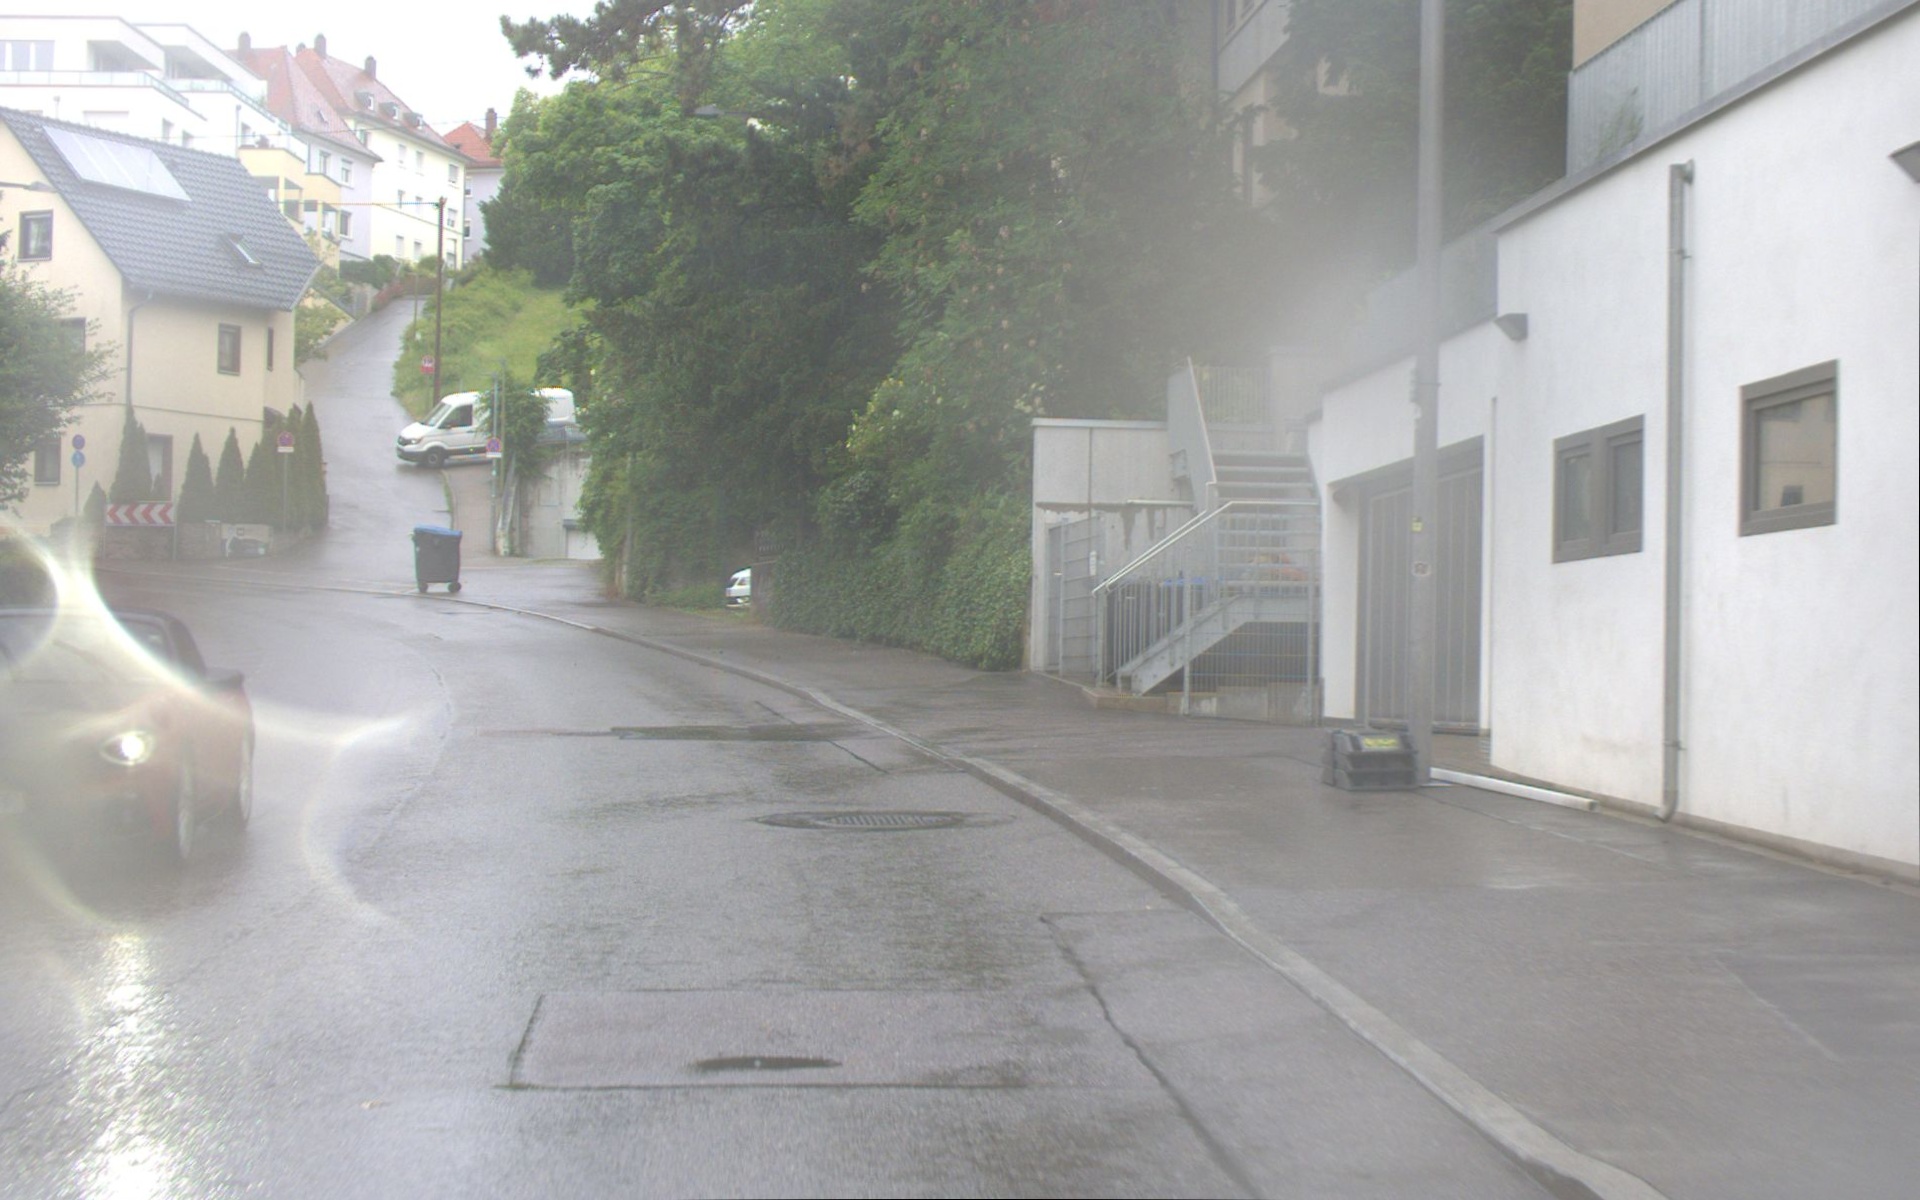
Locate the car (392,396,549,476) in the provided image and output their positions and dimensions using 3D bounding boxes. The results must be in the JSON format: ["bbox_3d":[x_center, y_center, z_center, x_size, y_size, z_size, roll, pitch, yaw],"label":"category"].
[{"bbox_3d":[-16.320,-5.481,114.653,4.941,2.560,1.905,-2,2,-15],"label":"car"}]

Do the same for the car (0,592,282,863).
[{"bbox_3d":[-4.468,0.563,17.230,1.679,1.142,4.001,0,1,-5],"label":"car"}]

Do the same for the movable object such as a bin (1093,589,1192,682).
[{"bbox_3d":[1.884,0.363,35.565,0.874,0.938,0.746,0,1,-9],"label":"movable object such as a bin"}]

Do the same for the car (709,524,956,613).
[{"bbox_3d":[-2.302,-0.581,61.695,4.142,1.471,1.905,-1,2,-11],"label":"car"}]

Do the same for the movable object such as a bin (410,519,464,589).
[{"bbox_3d":[-11.217,-0.991,73.713,1.081,1.437,1.458,2,1,-9],"label":"movable object such as a bin"}]
